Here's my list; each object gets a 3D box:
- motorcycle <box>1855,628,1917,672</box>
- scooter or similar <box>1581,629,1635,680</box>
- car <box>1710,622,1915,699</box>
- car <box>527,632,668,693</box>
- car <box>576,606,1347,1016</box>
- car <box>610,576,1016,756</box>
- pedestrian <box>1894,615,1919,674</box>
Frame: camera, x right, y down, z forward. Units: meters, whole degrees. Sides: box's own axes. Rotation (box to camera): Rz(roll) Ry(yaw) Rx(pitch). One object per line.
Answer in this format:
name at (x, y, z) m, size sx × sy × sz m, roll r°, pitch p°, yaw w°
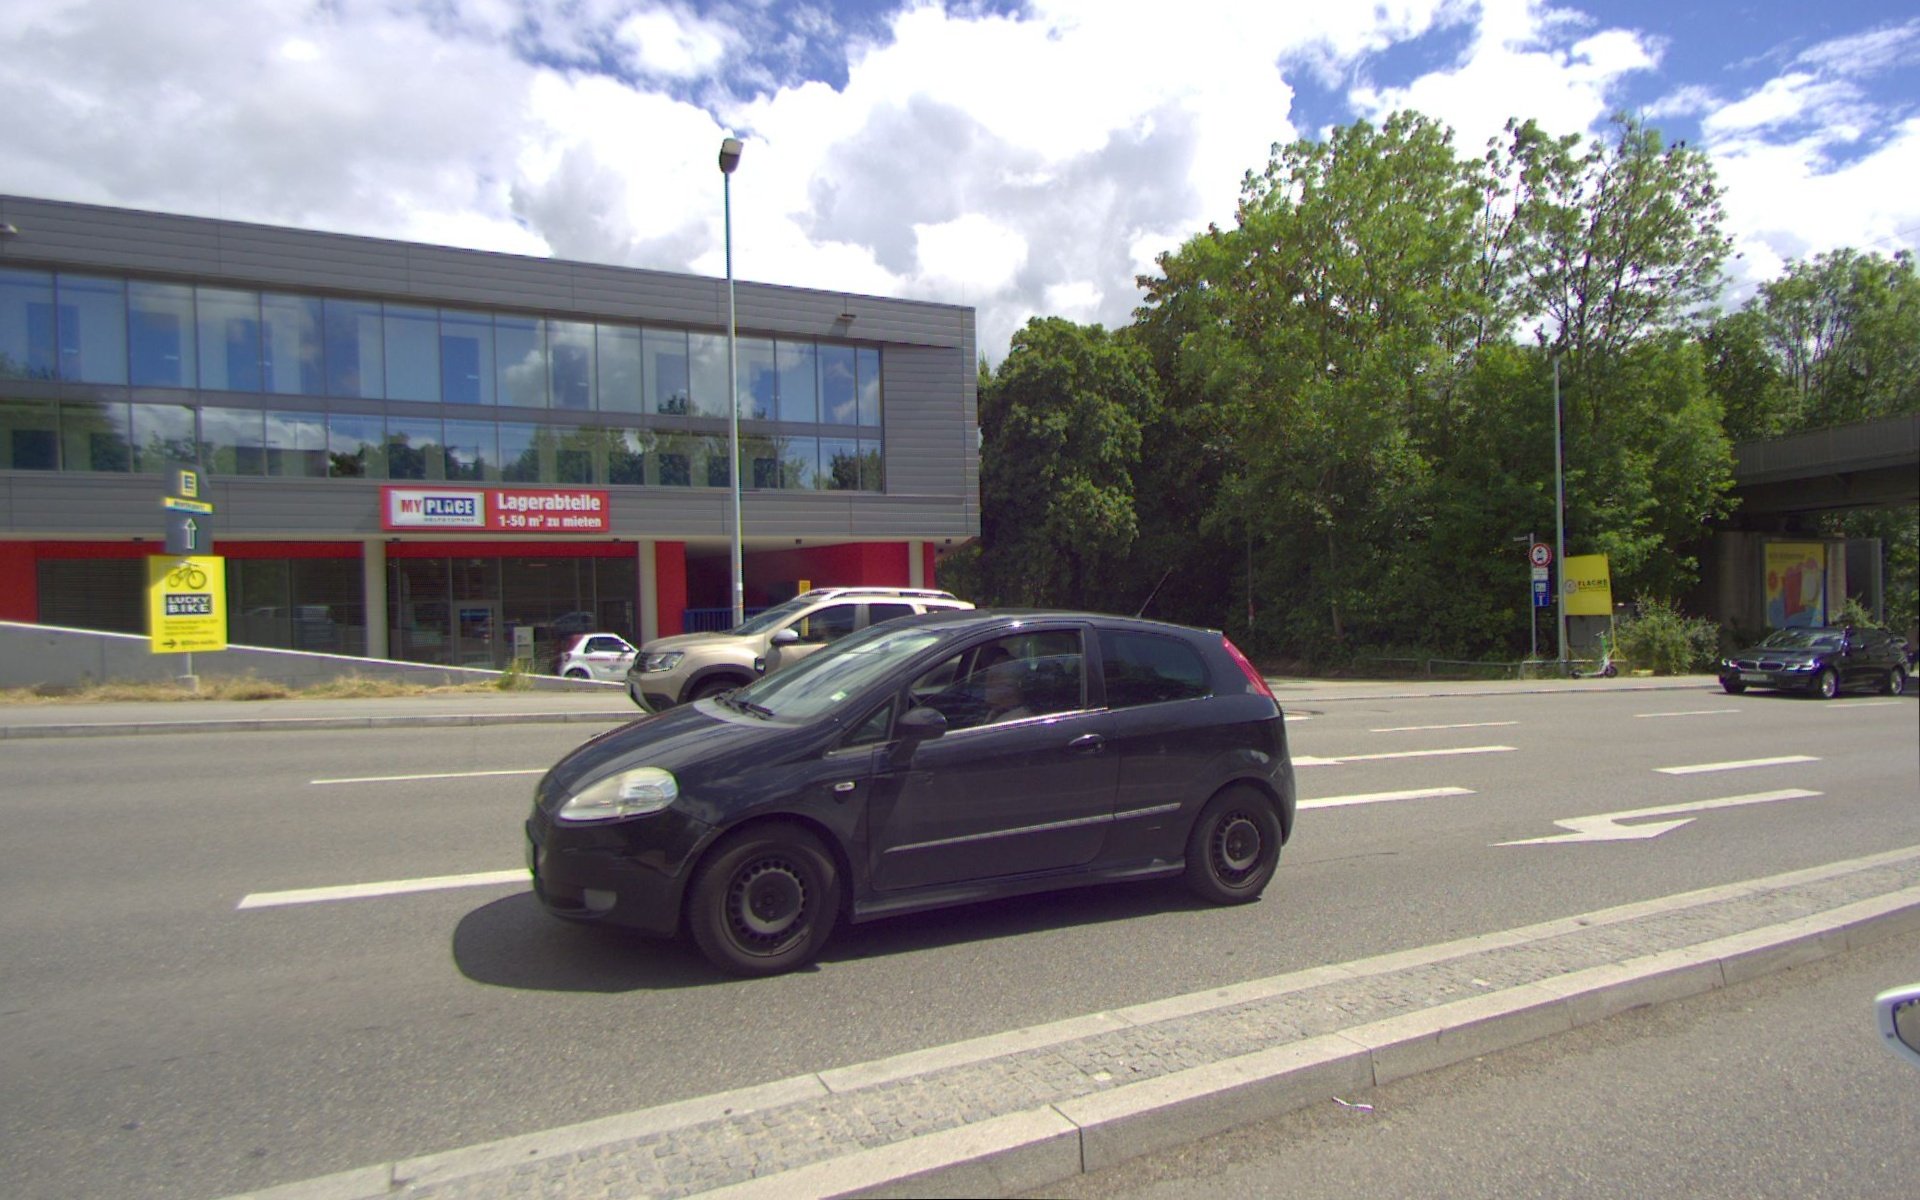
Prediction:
motorcycle at (27.845, 1.508, 30.205) m, size 2.047 × 1.226 × 0.684 m, roll 3°, pitch 0°, yaw -28°
scooter or similar at (15.926, 1.328, 24.682) m, size 1.245 × 1.227 × 0.609 m, roll 1°, pitch -1°, yaw -28°
car at (18.254, 1.270, 21.485) m, size 4.499 × 1.475 × 1.724 m, roll 2°, pitch -1°, yaw -27°
car at (-10.372, 1.754, 28.819) m, size 3.683 × 1.529 × 1.664 m, roll -1°, pitch 0°, yaw -22°
car at (0.065, 0.799, 5.268) m, size 3.728 × 1.490 × 1.631 m, roll 1°, pitch 0°, yaw -28°
car at (-1.634, 0.706, 11.413) m, size 4.216 × 1.735 × 1.724 m, roll 2°, pitch -1°, yaw -27°
pedestrian at (27.875, 1.290, 29.226) m, size 0.711 × 1.646 × 0.721 m, roll -3°, pitch 6°, yaw -28°
